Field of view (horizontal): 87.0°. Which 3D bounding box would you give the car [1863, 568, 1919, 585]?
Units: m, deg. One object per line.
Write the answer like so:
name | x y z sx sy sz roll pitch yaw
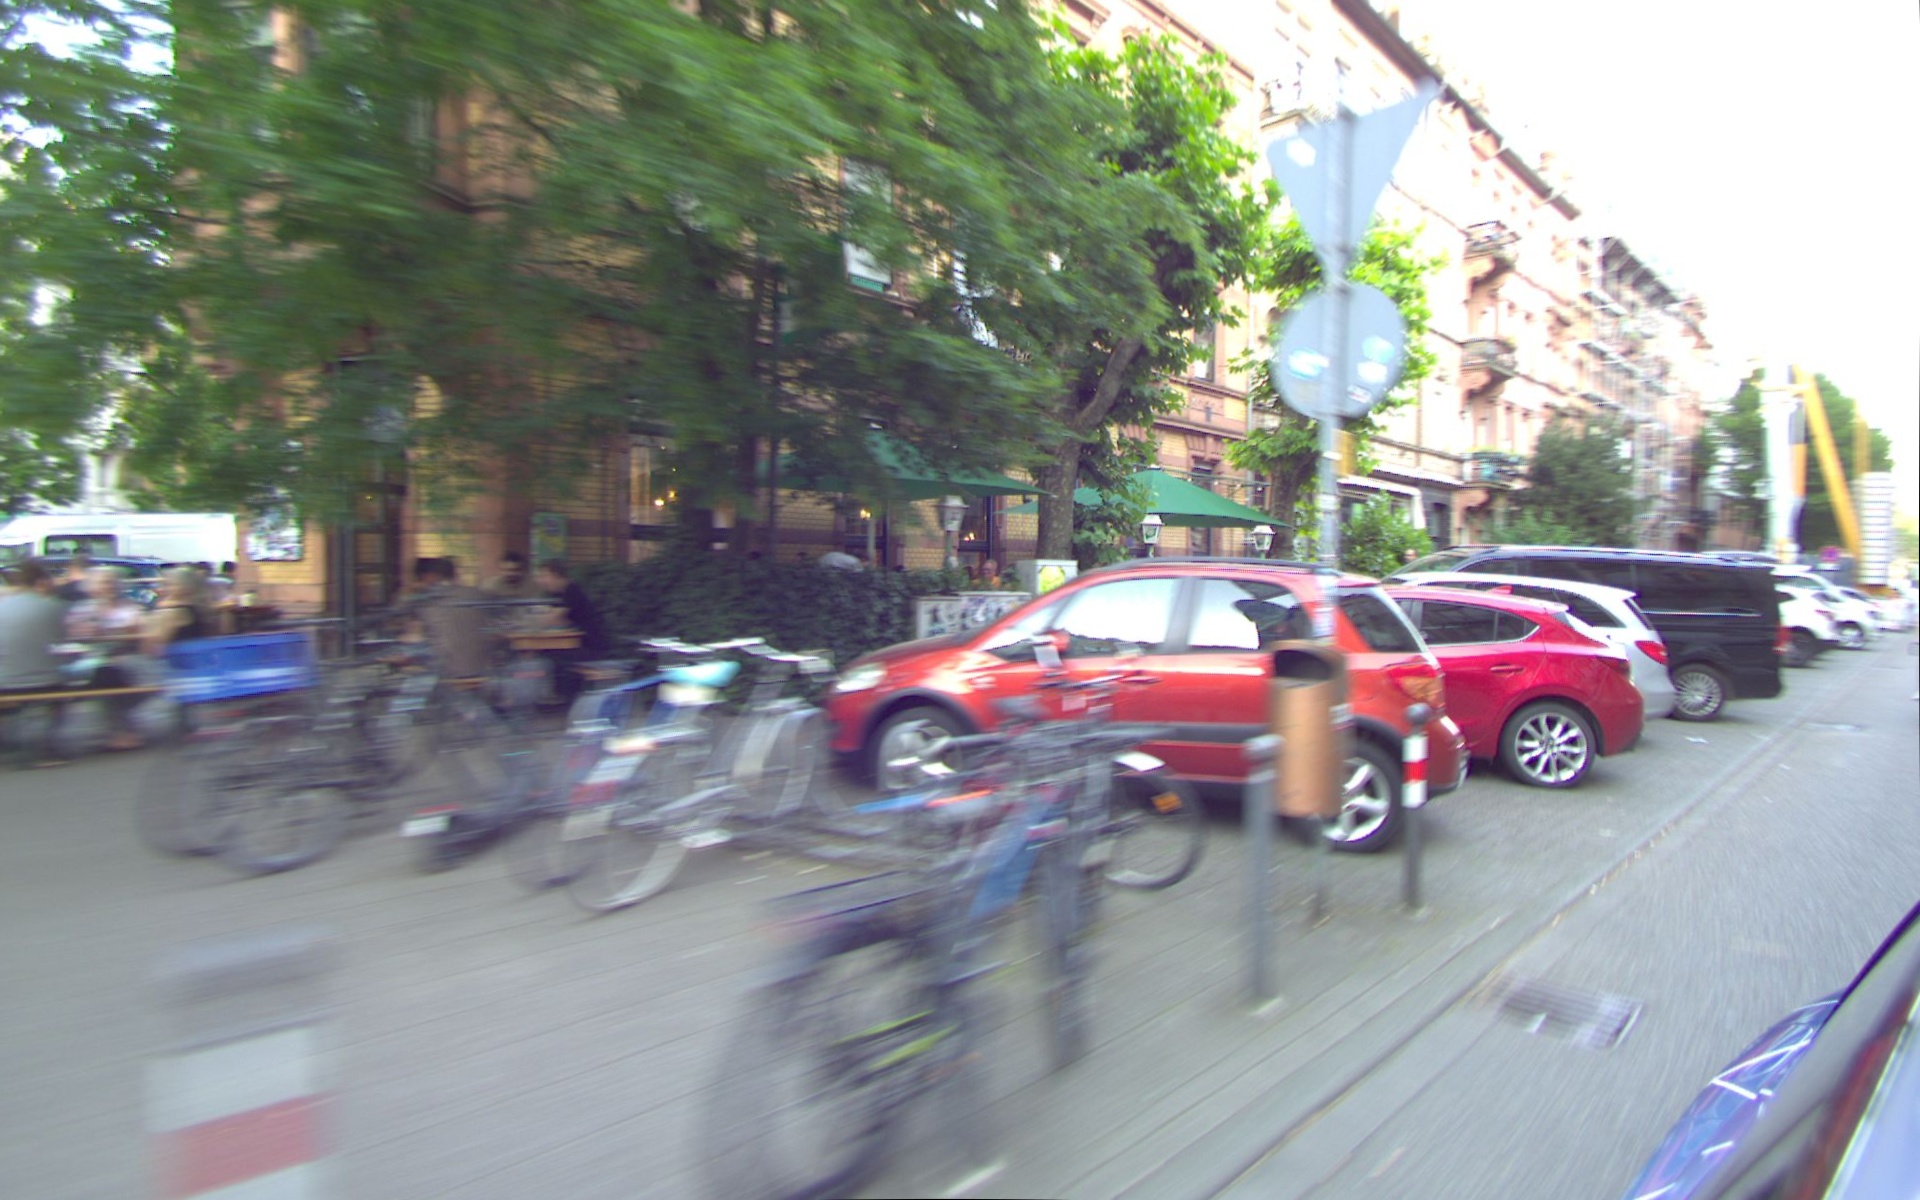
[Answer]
car | 95.544 -2.422 103.882 3.785 1.537 1.669 3 4 18

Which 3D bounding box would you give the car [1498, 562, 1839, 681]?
car | 11.273 0.271 16.456 4.051 1.570 1.811 3 2 15

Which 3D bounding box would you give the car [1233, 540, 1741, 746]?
car | 5.039 0.325 10.379 4.161 1.642 1.926 3 2 13

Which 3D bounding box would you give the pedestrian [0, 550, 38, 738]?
pedestrian | -6.820 0.303 7.050 0.564 1.285 0.545 -1 0 -43

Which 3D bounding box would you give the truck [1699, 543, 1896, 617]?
truck | 37.586 -0.867 45.611 2.480 3.115 6.492 -1 1 -40

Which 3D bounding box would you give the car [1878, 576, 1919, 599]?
car | 68.398 -0.861 72.238 3.779 1.537 1.672 3 4 14

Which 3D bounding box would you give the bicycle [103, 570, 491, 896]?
bicycle | -3.093 0.516 4.953 0.589 1.304 1.718 0 1 9

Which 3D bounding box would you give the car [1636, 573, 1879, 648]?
car | 18.978 0.195 24.311 4.111 1.610 1.875 2 1 18

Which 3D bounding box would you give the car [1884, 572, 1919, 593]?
car | 114.156 -2.045 121.743 4.122 2.320 1.676 2 3 7

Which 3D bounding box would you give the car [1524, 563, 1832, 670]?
car | 12.782 0.233 18.276 4.041 1.610 1.815 3 2 9

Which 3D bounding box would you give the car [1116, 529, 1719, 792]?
car | 3.475 0.378 8.547 4.154 1.708 1.930 3 2 8

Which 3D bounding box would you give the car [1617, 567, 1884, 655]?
car | 17.246 0.196 22.328 4.109 1.610 1.877 4 2 16

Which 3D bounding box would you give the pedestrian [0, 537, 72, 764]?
pedestrian | -6.046 0.311 6.498 0.544 1.397 0.459 -1 0 44

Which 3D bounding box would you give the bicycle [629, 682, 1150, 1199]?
bicycle | -0.070 0.827 2.656 0.364 1.077 1.529 -1 1 42

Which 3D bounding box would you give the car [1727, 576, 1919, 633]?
car | 25.230 0.091 29.761 3.820 1.535 1.836 2 1 21

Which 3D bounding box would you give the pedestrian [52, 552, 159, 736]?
pedestrian | -6.293 0.303 7.452 0.564 1.285 0.545 -1 0 -43

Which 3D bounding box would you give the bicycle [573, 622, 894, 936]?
bicycle | -0.922 0.676 4.636 0.591 1.077 1.758 -1 1 19

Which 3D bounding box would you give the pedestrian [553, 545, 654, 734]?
pedestrian | -2.807 0.293 7.977 0.551 1.427 0.508 -1 0 34

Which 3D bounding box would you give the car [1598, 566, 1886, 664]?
car | 15.357 0.228 20.144 4.052 1.610 1.810 4 2 16

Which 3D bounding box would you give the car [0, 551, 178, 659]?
car | -14.747 0.086 15.297 4.203 1.545 1.915 -1 1 -18

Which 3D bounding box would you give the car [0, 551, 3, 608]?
car | -32.926 -0.607 31.326 1.987 1.807 4.488 -1 1 35

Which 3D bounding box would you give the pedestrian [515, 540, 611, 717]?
pedestrian | -3.329 0.225 8.493 0.551 1.427 0.508 -1 0 34

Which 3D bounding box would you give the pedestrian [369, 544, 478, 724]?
pedestrian | -4.427 0.267 8.373 0.506 1.427 0.617 -1 0 13

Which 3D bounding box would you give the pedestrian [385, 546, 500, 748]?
pedestrian | -3.859 0.330 7.556 0.635 1.427 0.508 -1 0 34

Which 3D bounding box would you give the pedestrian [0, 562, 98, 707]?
pedestrian | -8.972 0.319 9.961 0.727 1.362 0.626 -1 0 -41

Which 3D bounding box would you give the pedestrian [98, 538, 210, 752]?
pedestrian | -5.532 0.286 6.976 0.563 1.397 0.546 -1 0 -37

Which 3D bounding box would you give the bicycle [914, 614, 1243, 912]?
bicycle | 0.521 0.697 4.824 1.541 1.175 0.361 2 2 33

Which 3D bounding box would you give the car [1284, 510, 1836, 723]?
car | 6.970 0.112 12.394 5.347 2.098 1.930 3 2 8

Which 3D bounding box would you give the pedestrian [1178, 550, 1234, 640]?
pedestrian | 3.852 -0.083 15.850 0.587 1.383 0.687 -1 0 43

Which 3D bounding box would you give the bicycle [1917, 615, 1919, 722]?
bicycle | 11.384 0.737 11.518 1.752 1.169 0.520 -2 1 -40

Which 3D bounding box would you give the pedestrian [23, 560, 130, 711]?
pedestrian | -8.360 0.314 9.600 0.727 1.362 0.626 -1 0 -41

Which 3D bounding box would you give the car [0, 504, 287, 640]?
car | -16.618 -0.543 19.729 5.427 2.451 2.250 -1 1 -21

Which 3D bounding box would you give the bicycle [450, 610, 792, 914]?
bicycle | -1.509 0.641 4.857 0.591 1.076 1.758 3 3 19

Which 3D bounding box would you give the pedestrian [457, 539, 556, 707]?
pedestrian | -4.016 0.189 8.977 0.510 1.427 0.612 -1 0 34

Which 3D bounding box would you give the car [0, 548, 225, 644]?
car | -15.711 -0.071 17.482 4.449 1.545 2.004 -1 1 -18

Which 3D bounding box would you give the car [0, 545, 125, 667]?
car | -13.951 0.103 13.270 4.203 1.545 1.915 -1 1 -18

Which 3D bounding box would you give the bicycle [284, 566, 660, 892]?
bicycle | -2.267 0.501 4.982 0.591 1.304 1.758 -1 1 19

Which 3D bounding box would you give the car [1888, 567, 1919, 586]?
car | 120.055 -2.956 127.585 4.128 2.286 1.673 3 3 11

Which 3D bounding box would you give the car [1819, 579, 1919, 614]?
car | 44.872 -0.167 49.464 3.935 1.506 1.679 3 2 13

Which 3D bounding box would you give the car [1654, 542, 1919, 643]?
car | 21.142 -0.249 26.134 4.878 2.391 1.987 2 1 21

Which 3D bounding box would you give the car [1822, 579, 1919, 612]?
car | 46.937 -0.218 51.553 4.104 1.506 1.826 3 2 10

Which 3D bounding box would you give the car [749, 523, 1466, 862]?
car | 0.851 0.425 6.550 3.991 1.648 1.685 3 1 15
